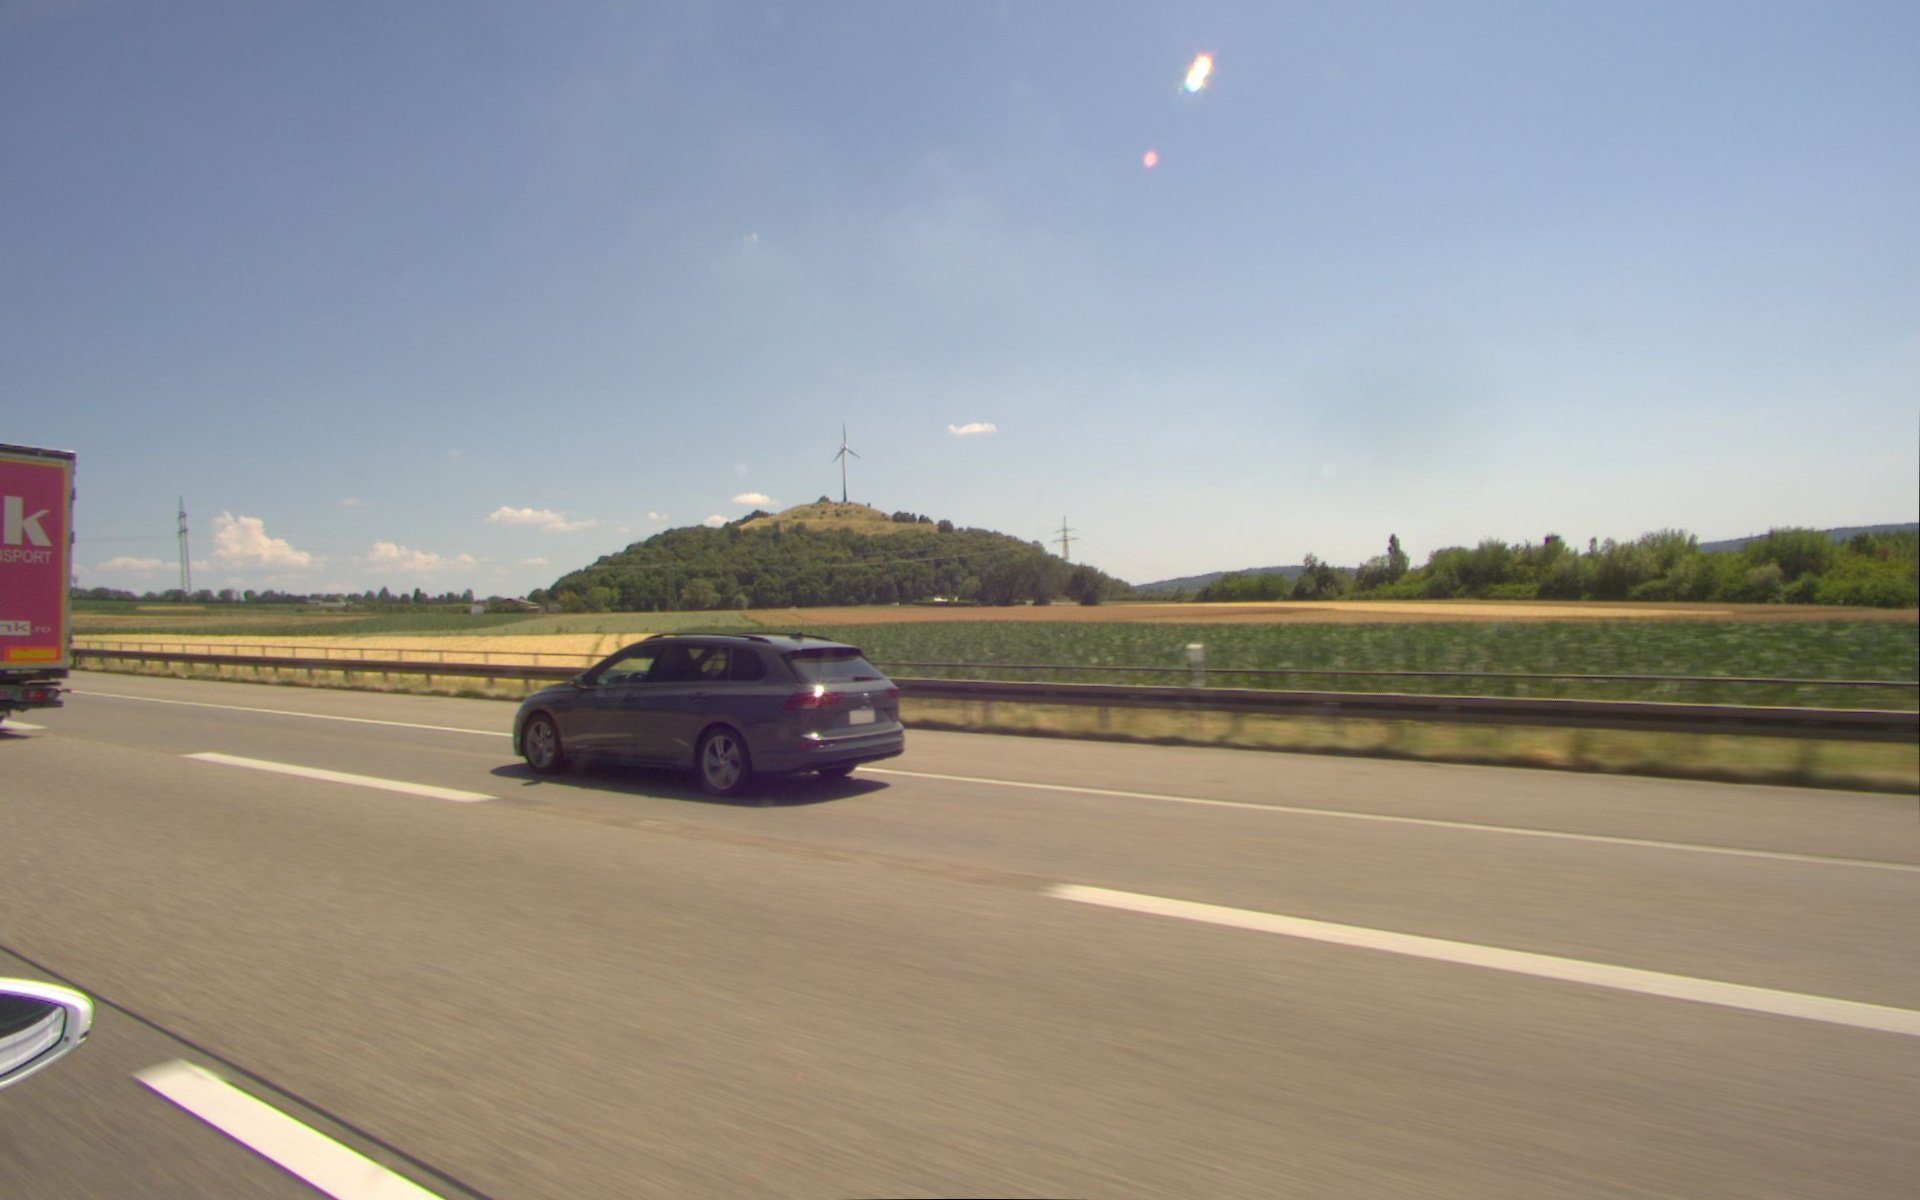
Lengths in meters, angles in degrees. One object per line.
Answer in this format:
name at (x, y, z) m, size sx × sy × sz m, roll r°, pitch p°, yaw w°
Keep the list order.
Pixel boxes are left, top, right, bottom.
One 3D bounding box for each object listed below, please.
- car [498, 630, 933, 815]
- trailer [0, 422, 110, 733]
car at (-2.607, 1.073, 10.250) m, size 4.472 × 1.490 × 1.758 m, roll -1°, pitch -1°, yaw 33°
trailer at (-18.728, -0.243, 16.934) m, size 13.664 × 4.170 × 2.912 m, roll -1°, pitch -1°, yaw 33°
